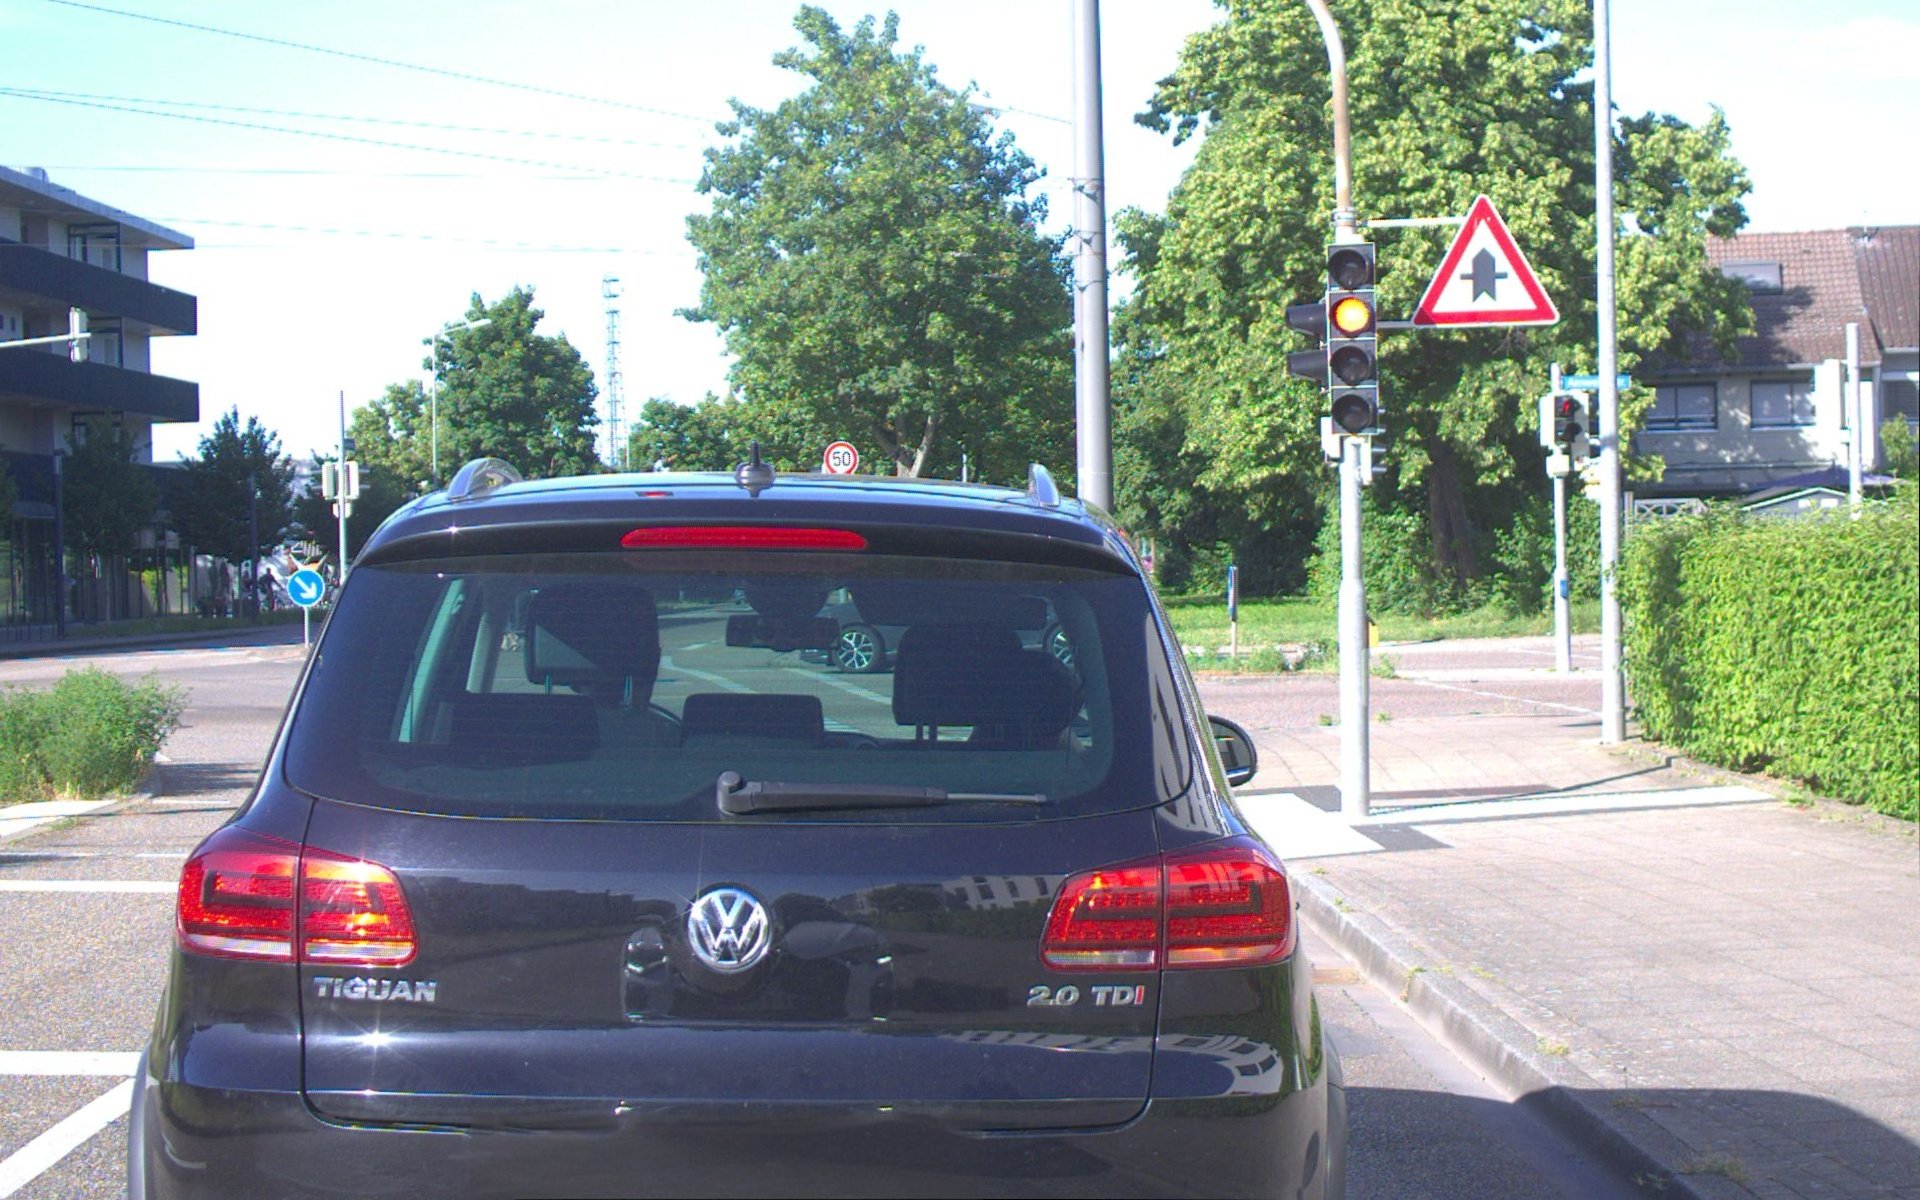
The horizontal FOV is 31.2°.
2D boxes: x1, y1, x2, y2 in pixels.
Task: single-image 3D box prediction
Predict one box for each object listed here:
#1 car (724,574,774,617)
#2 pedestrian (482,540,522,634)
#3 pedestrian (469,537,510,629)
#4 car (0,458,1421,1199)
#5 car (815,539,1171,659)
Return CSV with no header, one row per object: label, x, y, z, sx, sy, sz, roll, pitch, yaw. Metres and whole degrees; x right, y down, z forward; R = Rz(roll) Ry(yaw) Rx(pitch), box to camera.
car,-8.360,-0.195,136.526,1.656,1.634,4.000,0,1,1
pedestrian,-7.984,-0.234,59.925,0.603,1.634,0.529,0,1,4
pedestrian,-8.085,-0.297,59.132,0.603,1.559,0.529,0,1,4
car,-0.419,0.604,6.482,1.905,1.637,4.000,0,1,-2
car,0.473,-0.032,44.564,4.498,1.499,2.000,0,1,4
